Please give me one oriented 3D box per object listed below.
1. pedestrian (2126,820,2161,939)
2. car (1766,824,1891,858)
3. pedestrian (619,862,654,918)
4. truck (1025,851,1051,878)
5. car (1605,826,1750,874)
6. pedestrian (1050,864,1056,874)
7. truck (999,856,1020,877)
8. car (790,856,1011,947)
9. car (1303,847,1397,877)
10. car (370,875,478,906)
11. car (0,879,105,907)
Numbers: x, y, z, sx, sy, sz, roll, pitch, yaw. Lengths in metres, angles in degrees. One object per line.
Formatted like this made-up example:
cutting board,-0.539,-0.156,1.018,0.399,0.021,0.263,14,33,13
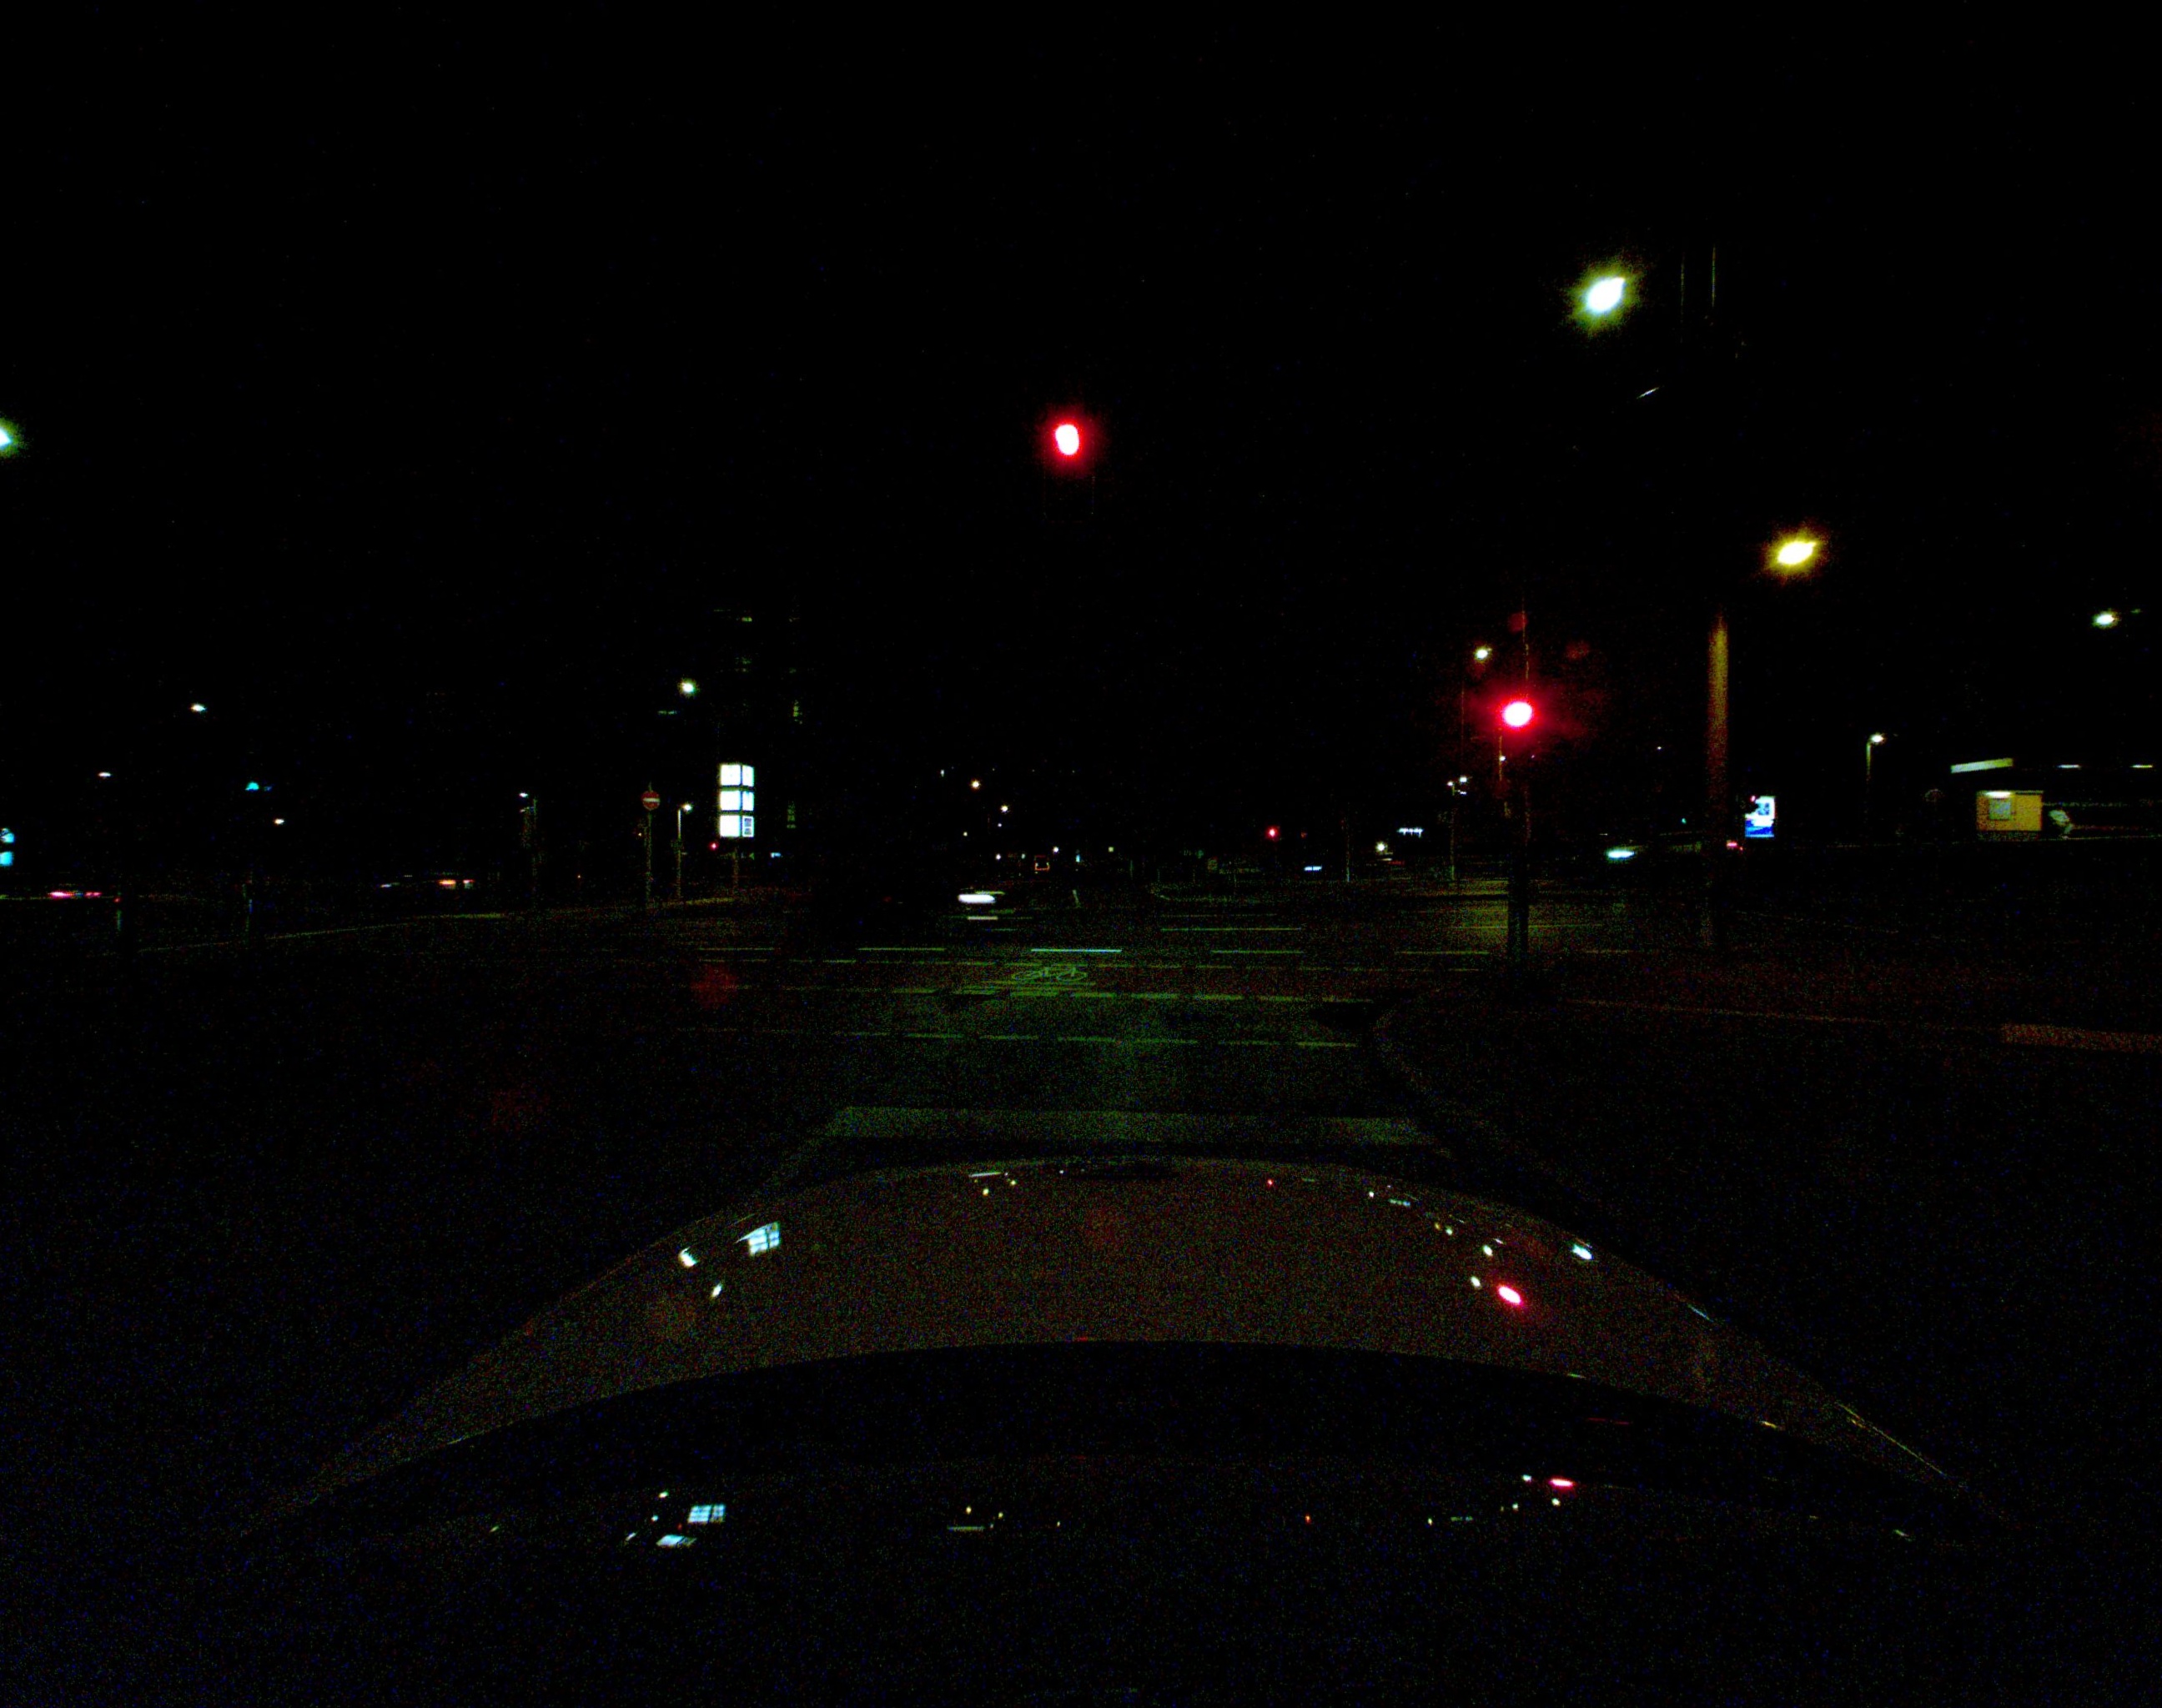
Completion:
pedestrian,15.749,0.323,11.534,0.870,1.656,0.843,-7,-5,42
car,34.775,-0.605,37.981,4.041,1.424,1.846,-1,1,5
pedestrian,-13.981,1.108,25.609,0.670,1.722,0.711,-1,-2,31
truck,-7.988,1.932,149.258,3.366,4.843,7.865,0,-1,-14
car,25.691,-0.149,35.222,4.757,1.844,1.845,-2,-2,5
pedestrian,-5.151,2.736,147.862,0.851,1.912,1.001,0,-1,-16
truck,-10.540,1.851,120.139,2.419,3.089,6.412,0,-1,-11
car,-3.445,0.895,16.010,3.861,1.473,1.660,-2,2,2
car,13.956,0.407,42.450,4.306,1.388,1.845,-2,-1,5
car,-35.593,1.951,44.172,4.377,1.644,1.944,0,-1,5
car,-58.197,2.190,45.899,4.553,1.486,1.781,0,0,5
